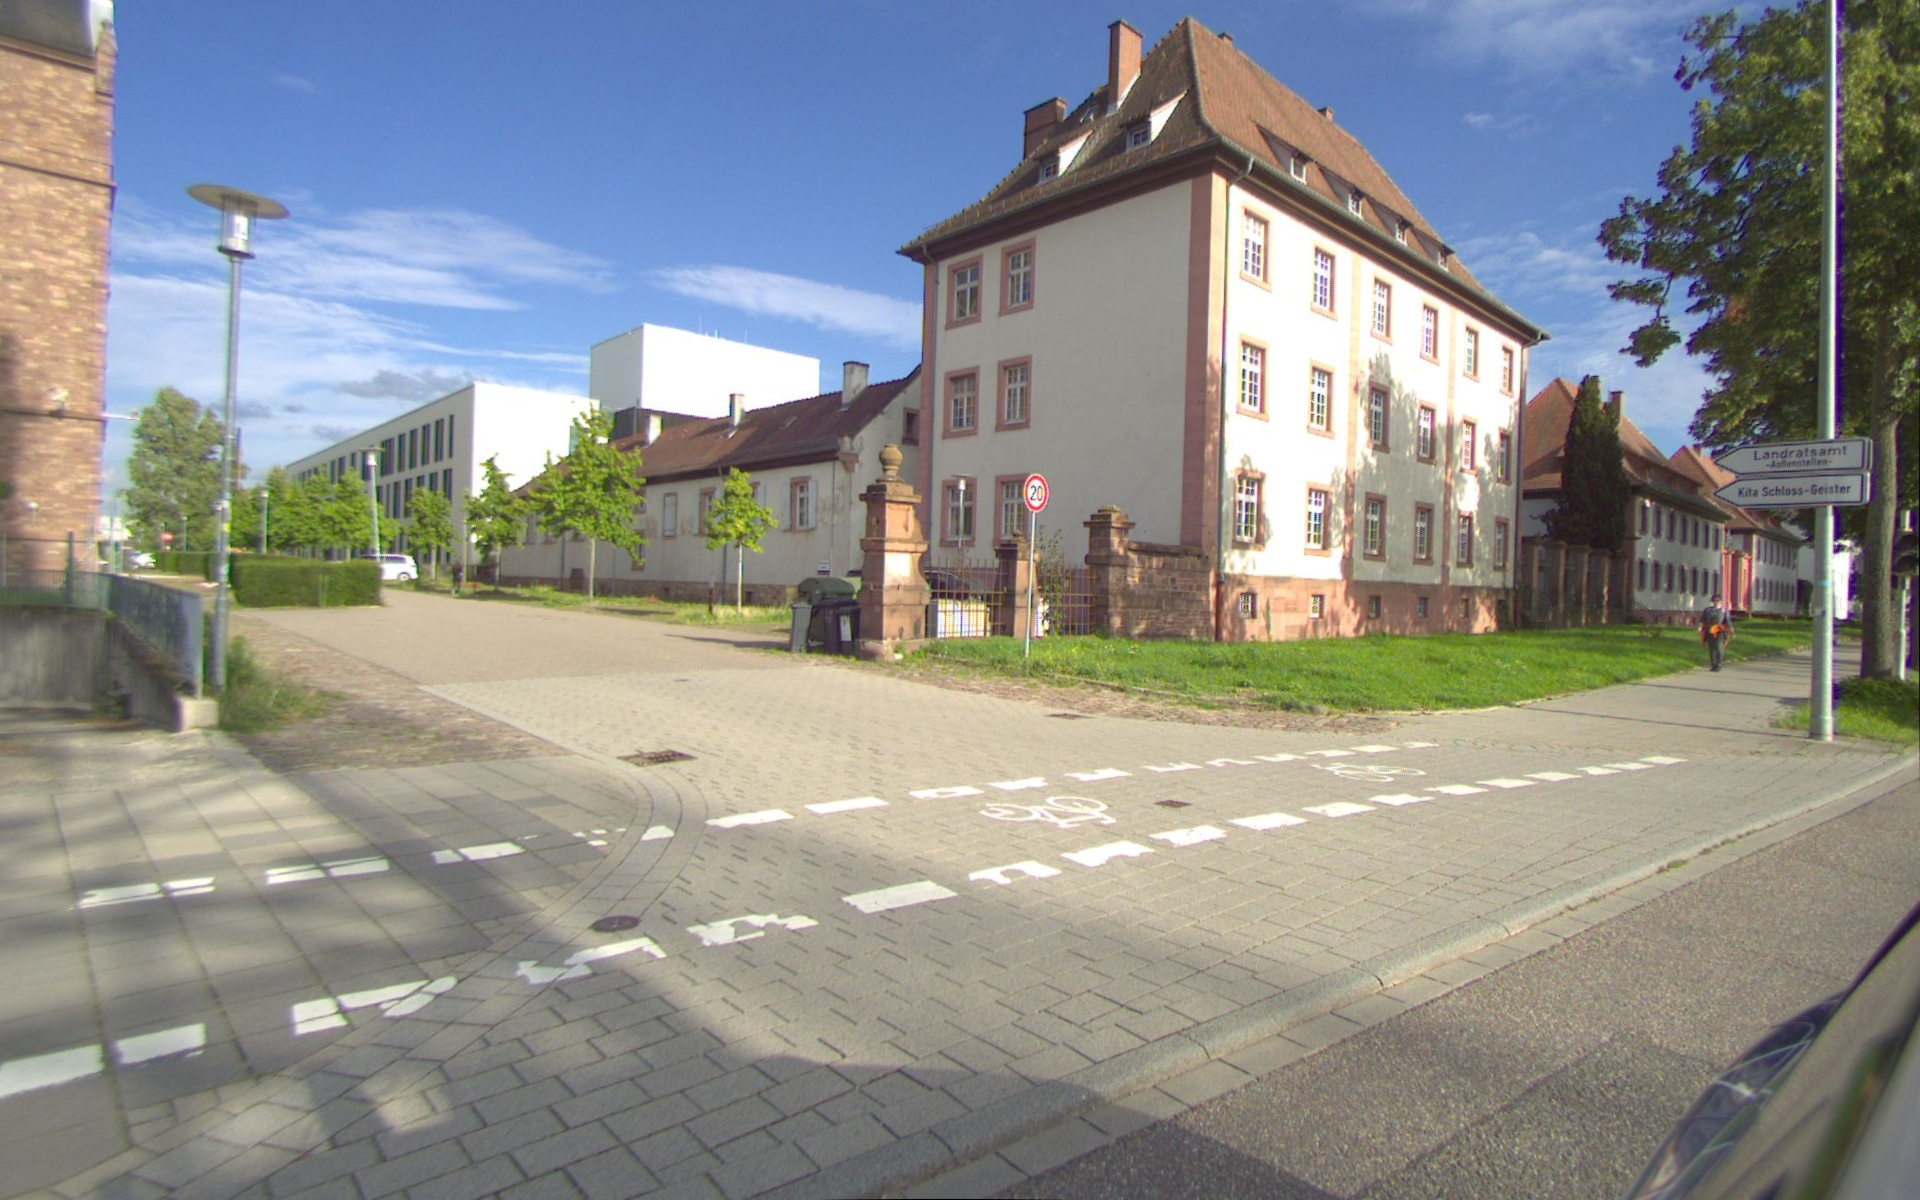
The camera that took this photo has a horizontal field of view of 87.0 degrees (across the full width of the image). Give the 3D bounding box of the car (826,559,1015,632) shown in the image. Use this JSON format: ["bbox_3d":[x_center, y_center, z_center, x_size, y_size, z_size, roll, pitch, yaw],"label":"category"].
[{"bbox_3d":[-0.927,-0.107,25.318,4.425,1.628,1.998,1,2,-41],"label":"car"}]

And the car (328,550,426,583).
[{"bbox_3d":[-38.643,-2.204,67.197,5.390,2.039,1.997,0,0,-41],"label":"car"}]

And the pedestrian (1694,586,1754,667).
[{"bbox_3d":[16.000,0.533,21.197,0.756,1.609,0.815,1,3,-44],"label":"pedestrian"}]

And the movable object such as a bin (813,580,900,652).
[{"bbox_3d":[-1.898,0.276,18.585,1.190,1.246,1.076,2,1,44],"label":"movable object such as a bin"}]

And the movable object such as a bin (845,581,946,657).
[{"bbox_3d":[-1.334,0.366,20.879,1.413,1.478,1.520,2,1,44],"label":"movable object such as a bin"}]

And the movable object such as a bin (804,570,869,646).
[{"bbox_3d":[-2.403,0.148,19.699,0.830,1.441,0.927,1,0,44],"label":"movable object such as a bin"}]
